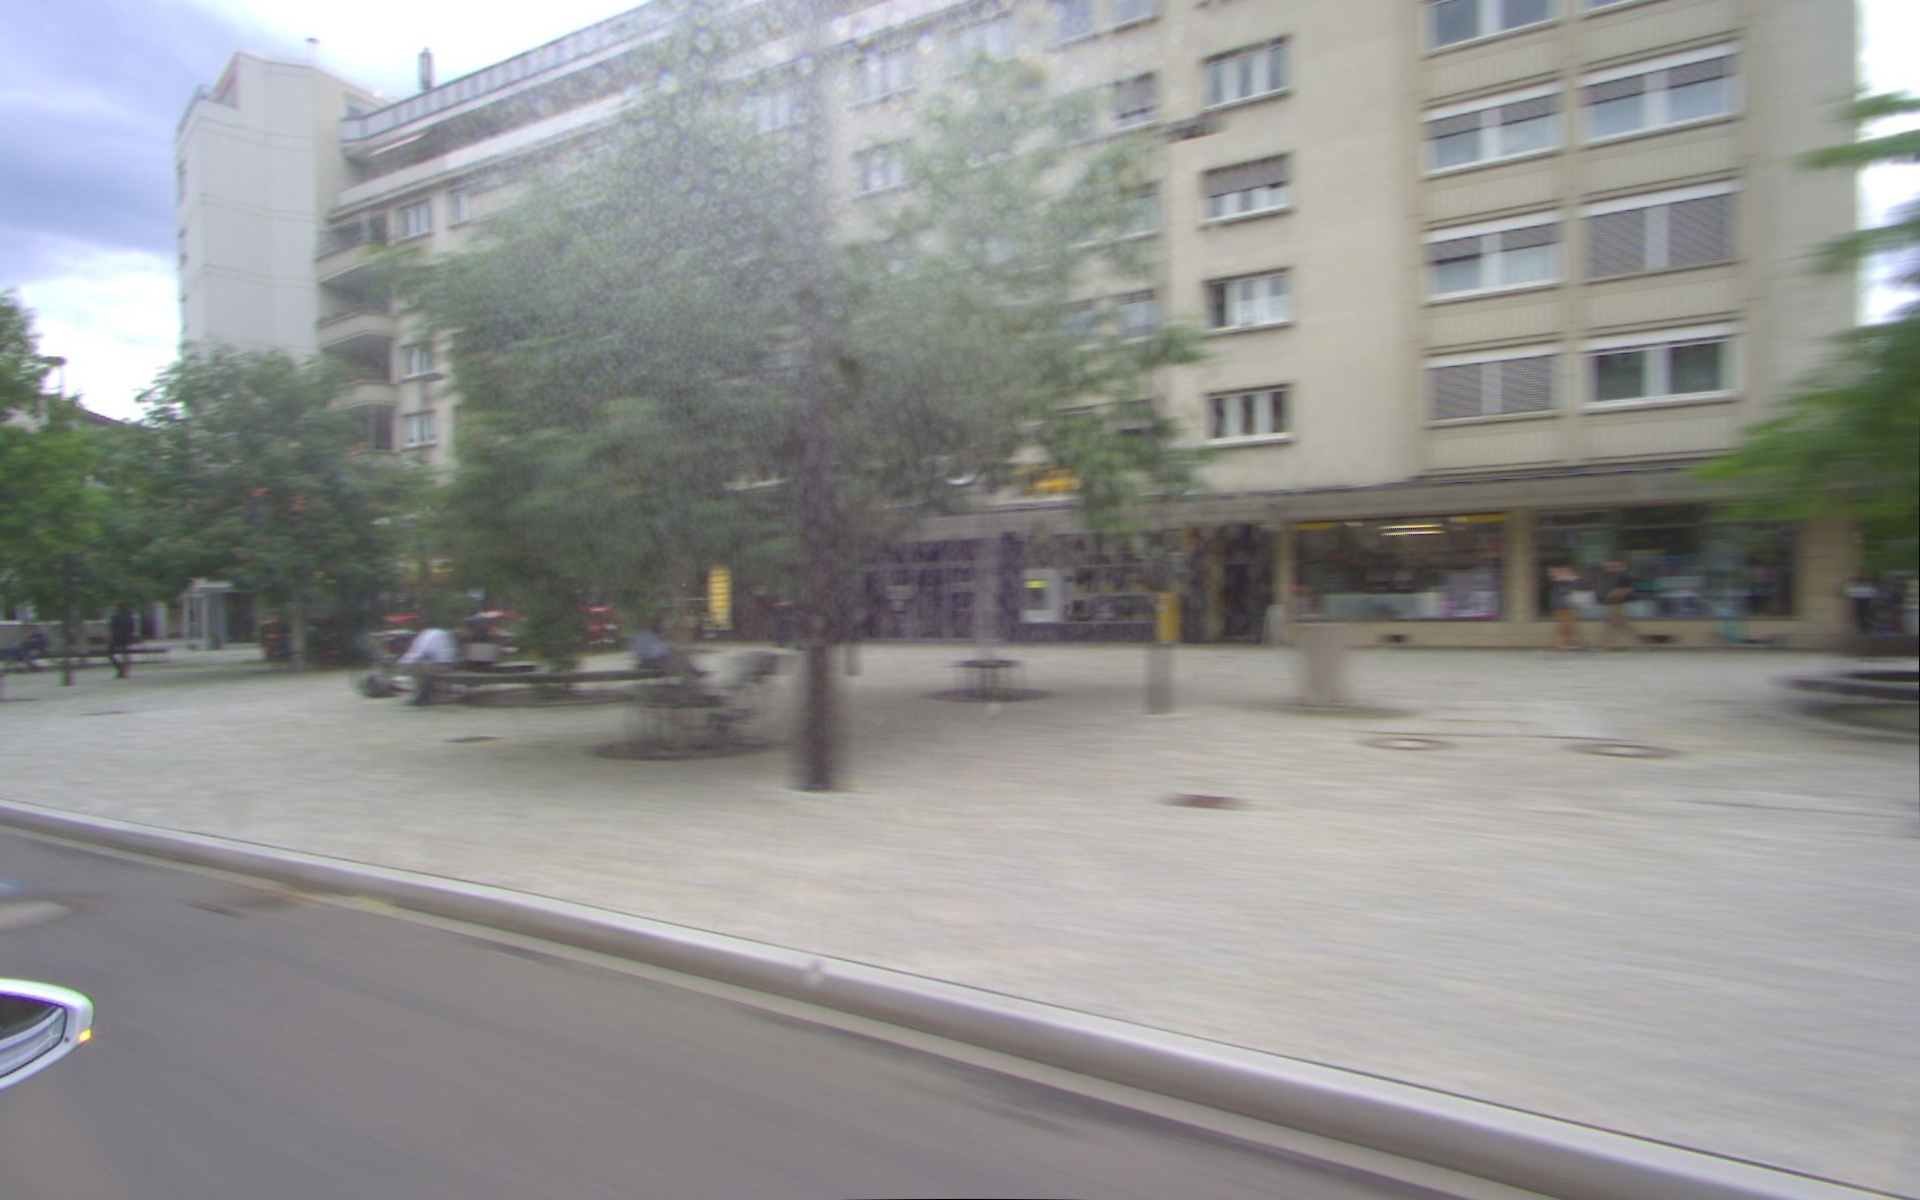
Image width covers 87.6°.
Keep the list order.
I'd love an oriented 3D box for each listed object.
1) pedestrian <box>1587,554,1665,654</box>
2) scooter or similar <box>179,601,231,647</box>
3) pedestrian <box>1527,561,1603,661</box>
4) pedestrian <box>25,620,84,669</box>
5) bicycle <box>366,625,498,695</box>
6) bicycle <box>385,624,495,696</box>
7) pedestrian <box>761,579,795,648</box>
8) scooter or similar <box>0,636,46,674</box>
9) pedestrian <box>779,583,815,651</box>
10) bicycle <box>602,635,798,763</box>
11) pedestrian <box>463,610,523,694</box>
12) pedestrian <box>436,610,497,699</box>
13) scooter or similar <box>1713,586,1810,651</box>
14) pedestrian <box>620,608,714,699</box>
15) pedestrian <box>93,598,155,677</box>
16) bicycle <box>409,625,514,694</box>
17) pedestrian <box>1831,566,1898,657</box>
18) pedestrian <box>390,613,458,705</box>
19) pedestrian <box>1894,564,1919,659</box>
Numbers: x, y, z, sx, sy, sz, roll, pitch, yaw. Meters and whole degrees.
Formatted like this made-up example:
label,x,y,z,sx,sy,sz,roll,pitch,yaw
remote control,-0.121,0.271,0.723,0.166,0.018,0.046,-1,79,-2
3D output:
label,x,y,z,sx,sy,sz,roll,pitch,yaw
pedestrian,13.138,0.072,19.771,1.046,1.927,0.772,-1,2,10
scooter or similar,-30.942,0.983,41.023,2.244,1.831,1.080,-1,1,37
pedestrian,11.217,0.203,18.600,1.047,1.796,0.771,0,2,17
pedestrian,-25.408,1.233,28.100,0.723,1.314,1.041,-1,1,33
bicycle,-9.429,1.044,17.947,0.472,1.126,2.022,0,1,43
bicycle,-8.930,1.003,17.233,0.472,1.126,1.591,0,1,42
pedestrian,-5.149,0.384,28.318,0.763,1.909,0.849,0,-1,-24
scooter or similar,-25.503,1.481,26.628,1.566,0.961,0.722,-2,1,-24
pedestrian,-4.417,0.451,27.057,0.763,1.775,0.715,-2,2,-24
bicycle,-2.540,0.929,10.001,0.637,1.137,1.907,-1,-2,38
pedestrian,-7.931,0.870,17.001,0.539,1.384,1.268,1,-1,-44
pedestrian,-7.992,0.868,16.209,0.624,1.384,0.910,1,-1,-45
scooter or similar,15.797,0.356,19.756,0.496,1.220,1.425,-3,2,-38
pedestrian,-4.627,0.829,15.799,1.387,1.384,0.628,-1,-1,27
pedestrian,-20.234,0.899,24.236,1.061,1.827,0.712,-1,2,27
bicycle,-8.886,1.038,17.883,0.472,1.126,1.591,0,1,42
pedestrian,16.203,0.200,17.940,0.631,1.607,0.591,0,1,-5
pedestrian,-8.227,0.891,15.374,0.674,1.384,0.630,0,-1,9
pedestrian,16.520,0.195,17.055,0.631,1.607,0.591,0,1,-5
